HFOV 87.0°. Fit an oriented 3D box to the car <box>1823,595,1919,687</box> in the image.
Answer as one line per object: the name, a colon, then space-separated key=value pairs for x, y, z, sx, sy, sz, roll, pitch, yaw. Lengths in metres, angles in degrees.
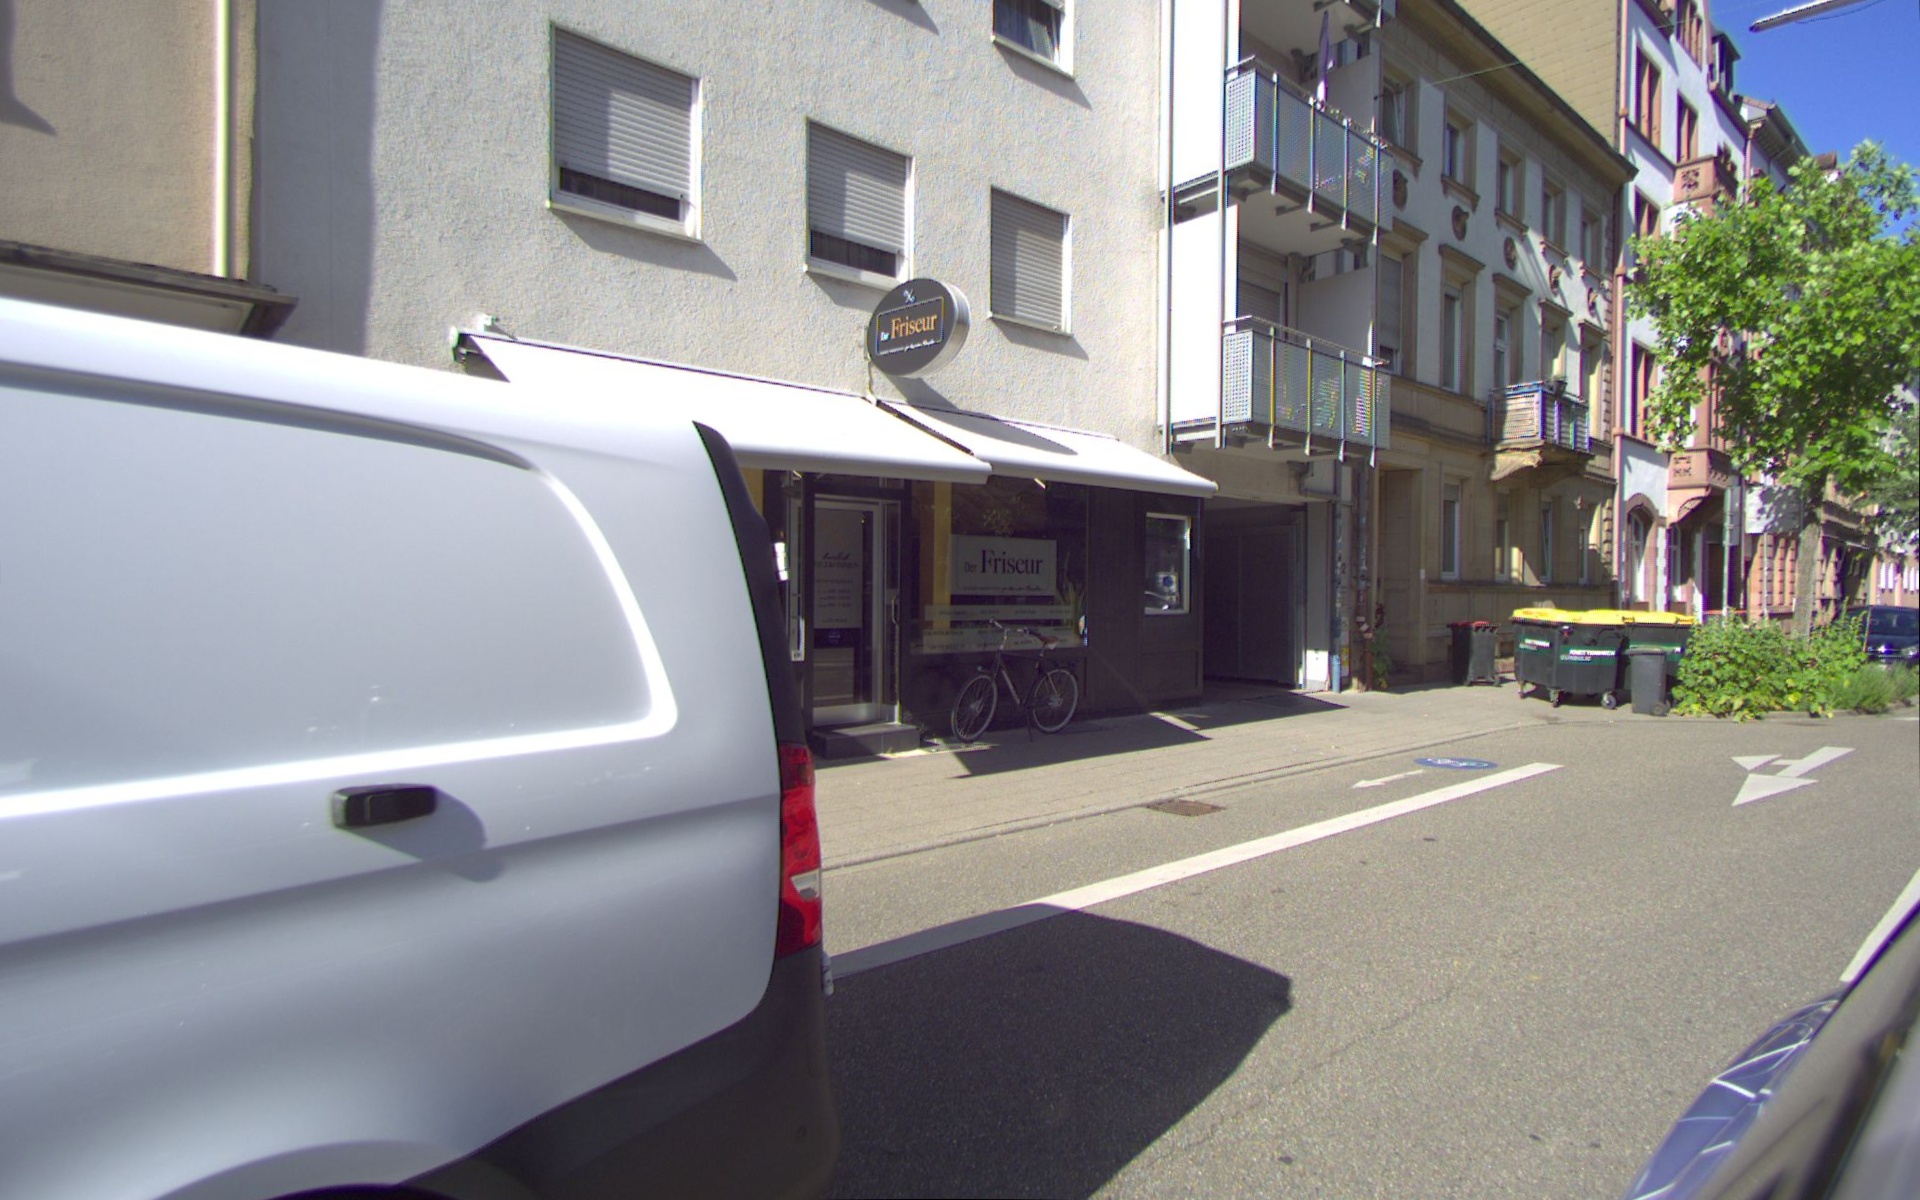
car: x=16.840 y=0.676 z=18.212 sx=3.293 sy=1.510 sz=1.550 roll=0 pitch=1 yaw=-41

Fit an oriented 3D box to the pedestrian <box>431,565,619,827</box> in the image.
pedestrian: x=-2.911 y=0.575 z=6.761 sx=0.930 sy=1.556 sz=0.825 roll=0 pitch=4 yaw=-41

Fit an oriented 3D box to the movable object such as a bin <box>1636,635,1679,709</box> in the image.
movable object such as a bin: x=9.574 y=0.974 z=13.885 sx=0.399 sy=0.933 sz=0.478 roll=3 pitch=3 yaw=41

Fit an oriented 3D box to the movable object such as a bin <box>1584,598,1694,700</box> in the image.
movable object such as a bin: x=9.961 y=0.688 z=14.899 sx=0.943 sy=1.365 sz=1.066 roll=1 pitch=3 yaw=11

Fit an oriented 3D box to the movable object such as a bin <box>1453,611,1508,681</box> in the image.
movable object such as a bin: x=8.535 y=0.744 z=16.622 sx=0.557 sy=1.094 sz=0.617 roll=1 pitch=3 yaw=1

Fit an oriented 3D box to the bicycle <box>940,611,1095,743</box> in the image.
bicycle: x=0.606 y=0.722 z=10.102 sx=1.760 sy=1.193 sz=0.402 roll=0 pitch=0 yaw=-41

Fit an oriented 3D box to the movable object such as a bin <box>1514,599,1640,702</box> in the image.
movable object such as a bin: x=8.845 y=0.703 z=14.576 sx=1.030 sy=1.341 sz=1.216 roll=1 pitch=3 yaw=1

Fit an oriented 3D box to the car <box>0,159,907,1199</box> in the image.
car: x=-2.530 y=0.485 z=0.875 sx=4.910 sy=1.892 sz=1.839 roll=0 pitch=1 yaw=-42

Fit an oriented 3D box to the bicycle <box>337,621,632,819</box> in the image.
bicycle: x=-3.176 y=0.749 z=6.879 sx=1.760 sy=1.146 sz=0.402 roll=0 pitch=4 yaw=-41
